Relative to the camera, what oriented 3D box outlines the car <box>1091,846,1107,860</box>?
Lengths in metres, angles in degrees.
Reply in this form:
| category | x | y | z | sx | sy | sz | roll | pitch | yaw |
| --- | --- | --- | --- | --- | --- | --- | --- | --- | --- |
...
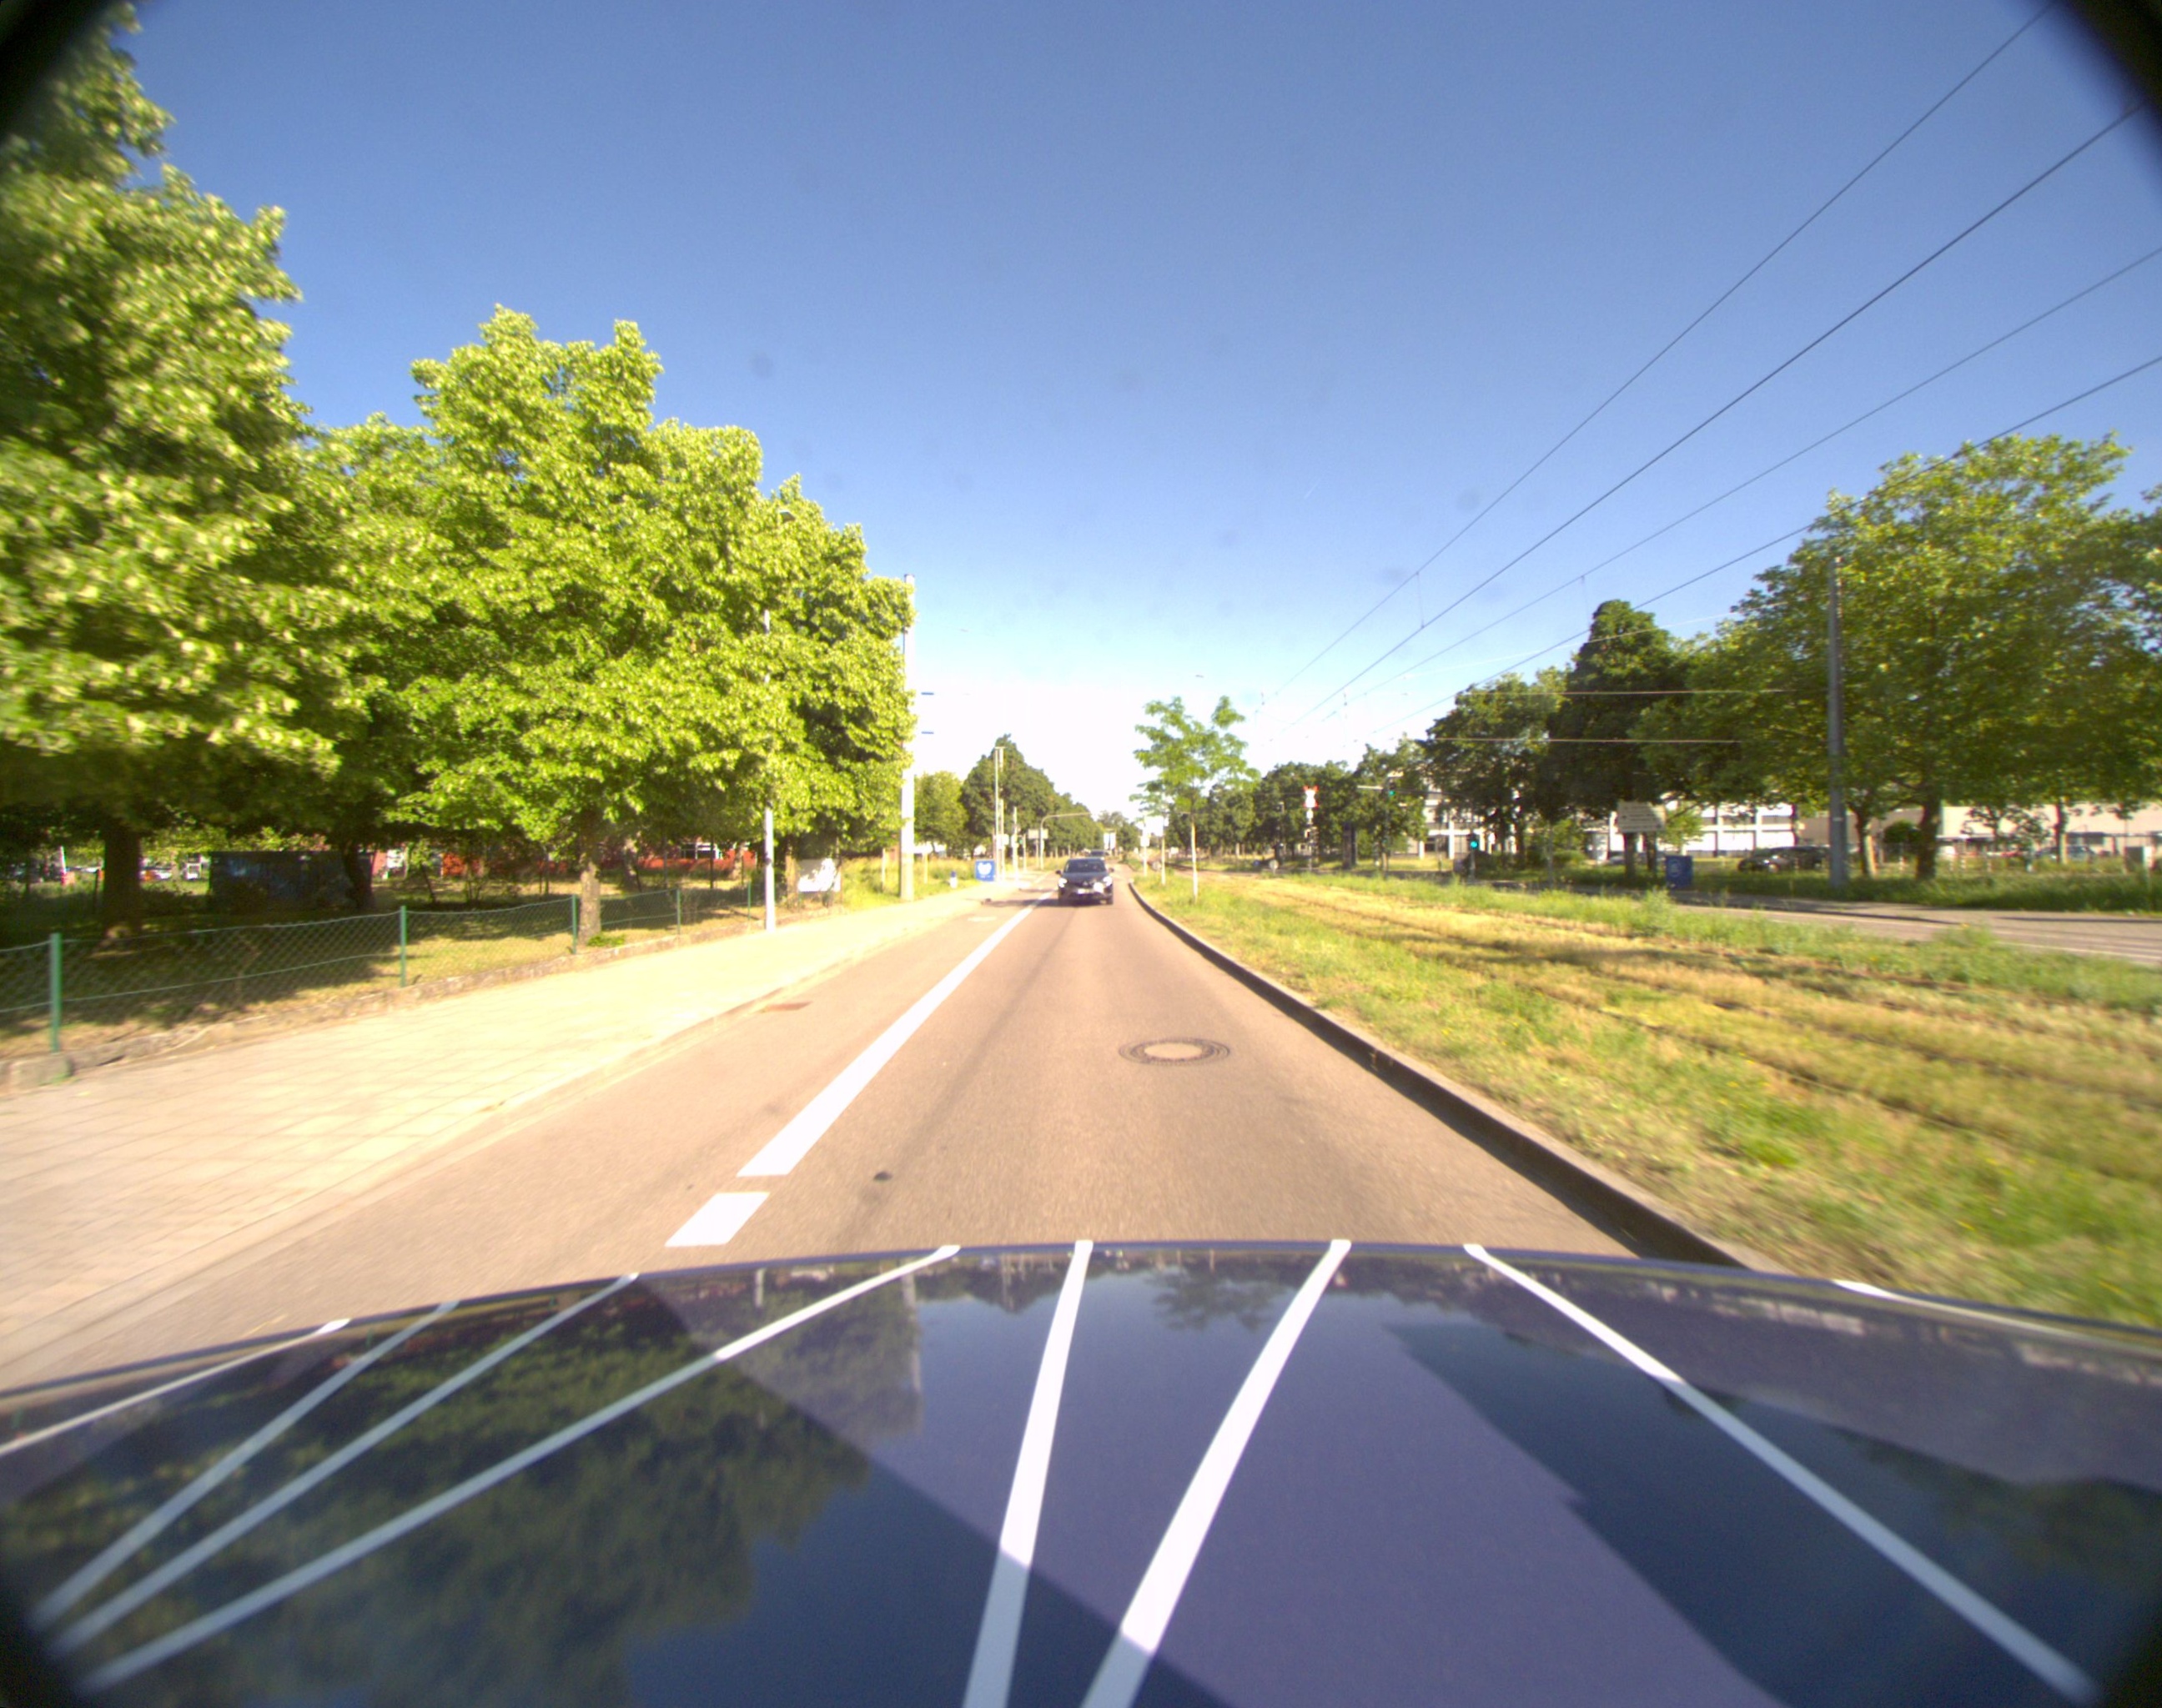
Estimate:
| category | x | y | z | sx | sy | sz | roll | pitch | yaw |
| --- | --- | --- | --- | --- | --- | --- | --- | --- | --- |
| car | 2.411 | -0.193 | 103.568 | 1.998 | 1.824 | 4.000 | -2 | 1 | 3 |

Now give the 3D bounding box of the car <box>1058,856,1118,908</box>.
| category | x | y | z | sx | sy | sz | roll | pitch | yaw |
| --- | --- | --- | --- | --- | --- | --- | --- | --- | --- |
| car | 0.246 | 0.900 | 26.207 | 1.867 | 1.614 | 4.000 | -1 | 0 | 1 |

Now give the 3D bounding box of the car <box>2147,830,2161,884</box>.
| category | x | y | z | sx | sy | sz | roll | pitch | yaw |
| --- | --- | --- | --- | --- | --- | --- | --- | --- | --- |
| car | 39.740 | 0.001 | 25.869 | 4.051 | 1.851 | 2.000 | -3 | 0 | -1 |

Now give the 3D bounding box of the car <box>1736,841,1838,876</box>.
| category | x | y | z | sx | sy | sz | roll | pitch | yaw |
| --- | --- | --- | --- | --- | --- | --- | --- | --- | --- |
| car | 40.890 | 0.243 | 44.080 | 4.051 | 1.816 | 2.000 | -2 | 1 | -1 |

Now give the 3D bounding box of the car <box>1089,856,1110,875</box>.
| category | x | y | z | sx | sy | sz | roll | pitch | yaw |
| --- | --- | --- | --- | --- | --- | --- | --- | --- | --- |
| car | 1.903 | 1.151 | 78.795 | 1.998 | 1.824 | 4.000 | -2 | 1 | 3 |

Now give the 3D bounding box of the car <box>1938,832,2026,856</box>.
| category | x | y | z | sx | sy | sz | roll | pitch | yaw |
| --- | --- | --- | --- | --- | --- | --- | --- | --- | --- |
| car | 70.262 | -0.769 | 59.271 | 4.532 | 1.637 | 2.000 | -2 | 1 | -1 |
